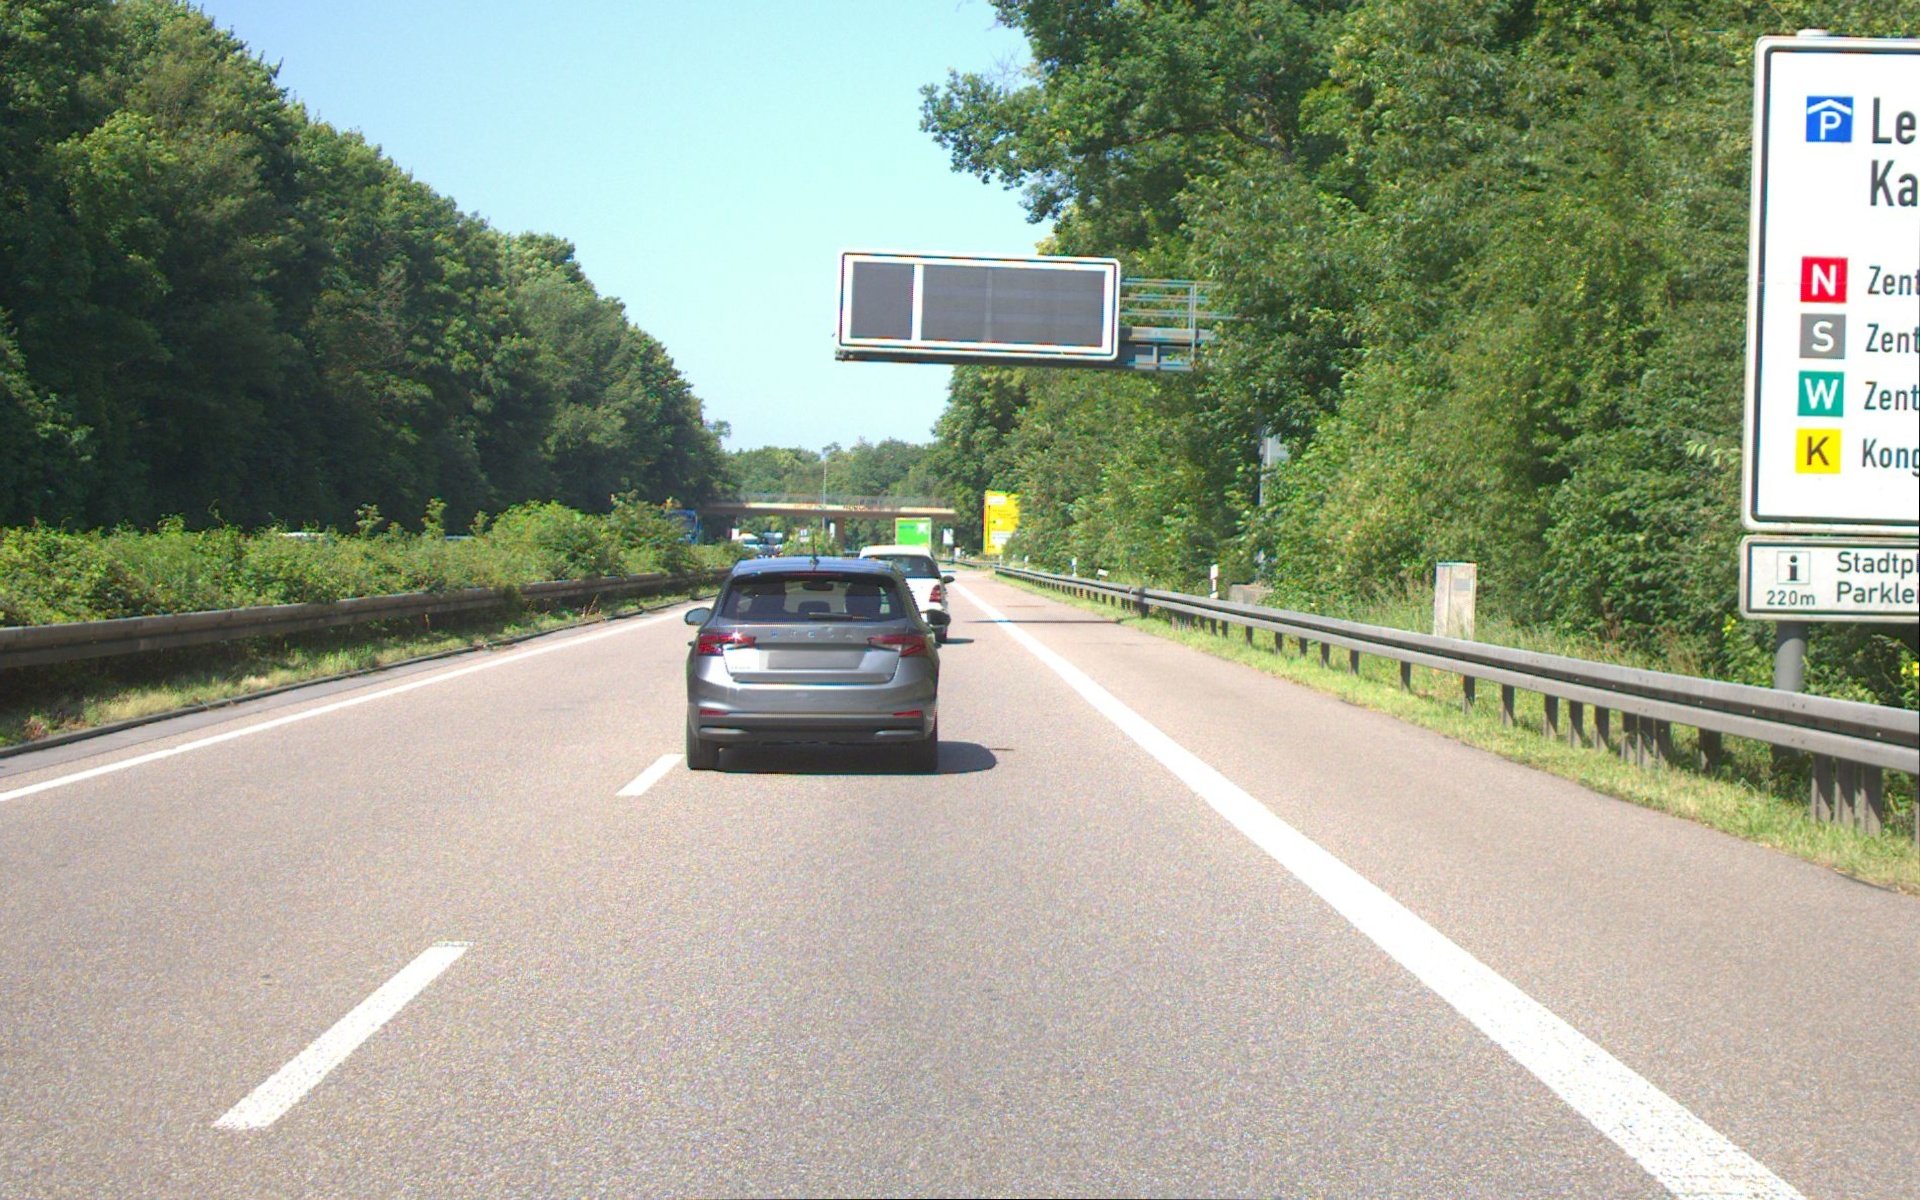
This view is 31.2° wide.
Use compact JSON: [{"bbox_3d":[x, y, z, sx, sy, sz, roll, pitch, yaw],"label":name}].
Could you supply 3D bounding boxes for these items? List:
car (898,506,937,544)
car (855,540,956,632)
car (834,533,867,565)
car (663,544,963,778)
[{"bbox_3d":[-3.065,-5.339,246.478,2.748,2.645,4.000,1,1,0],"label":"car"},{"bbox_3d":[-0.868,-0.253,56.182,1.522,1.442,3.340,1,1,1],"label":"car"},{"bbox_3d":[-7.008,-3.275,220.449,1.993,2.007,4.000,1,1,0],"label":"car"},{"bbox_3d":[-0.947,0.362,23.896,1.840,1.467,3.623,1,1,1],"label":"car"}]
